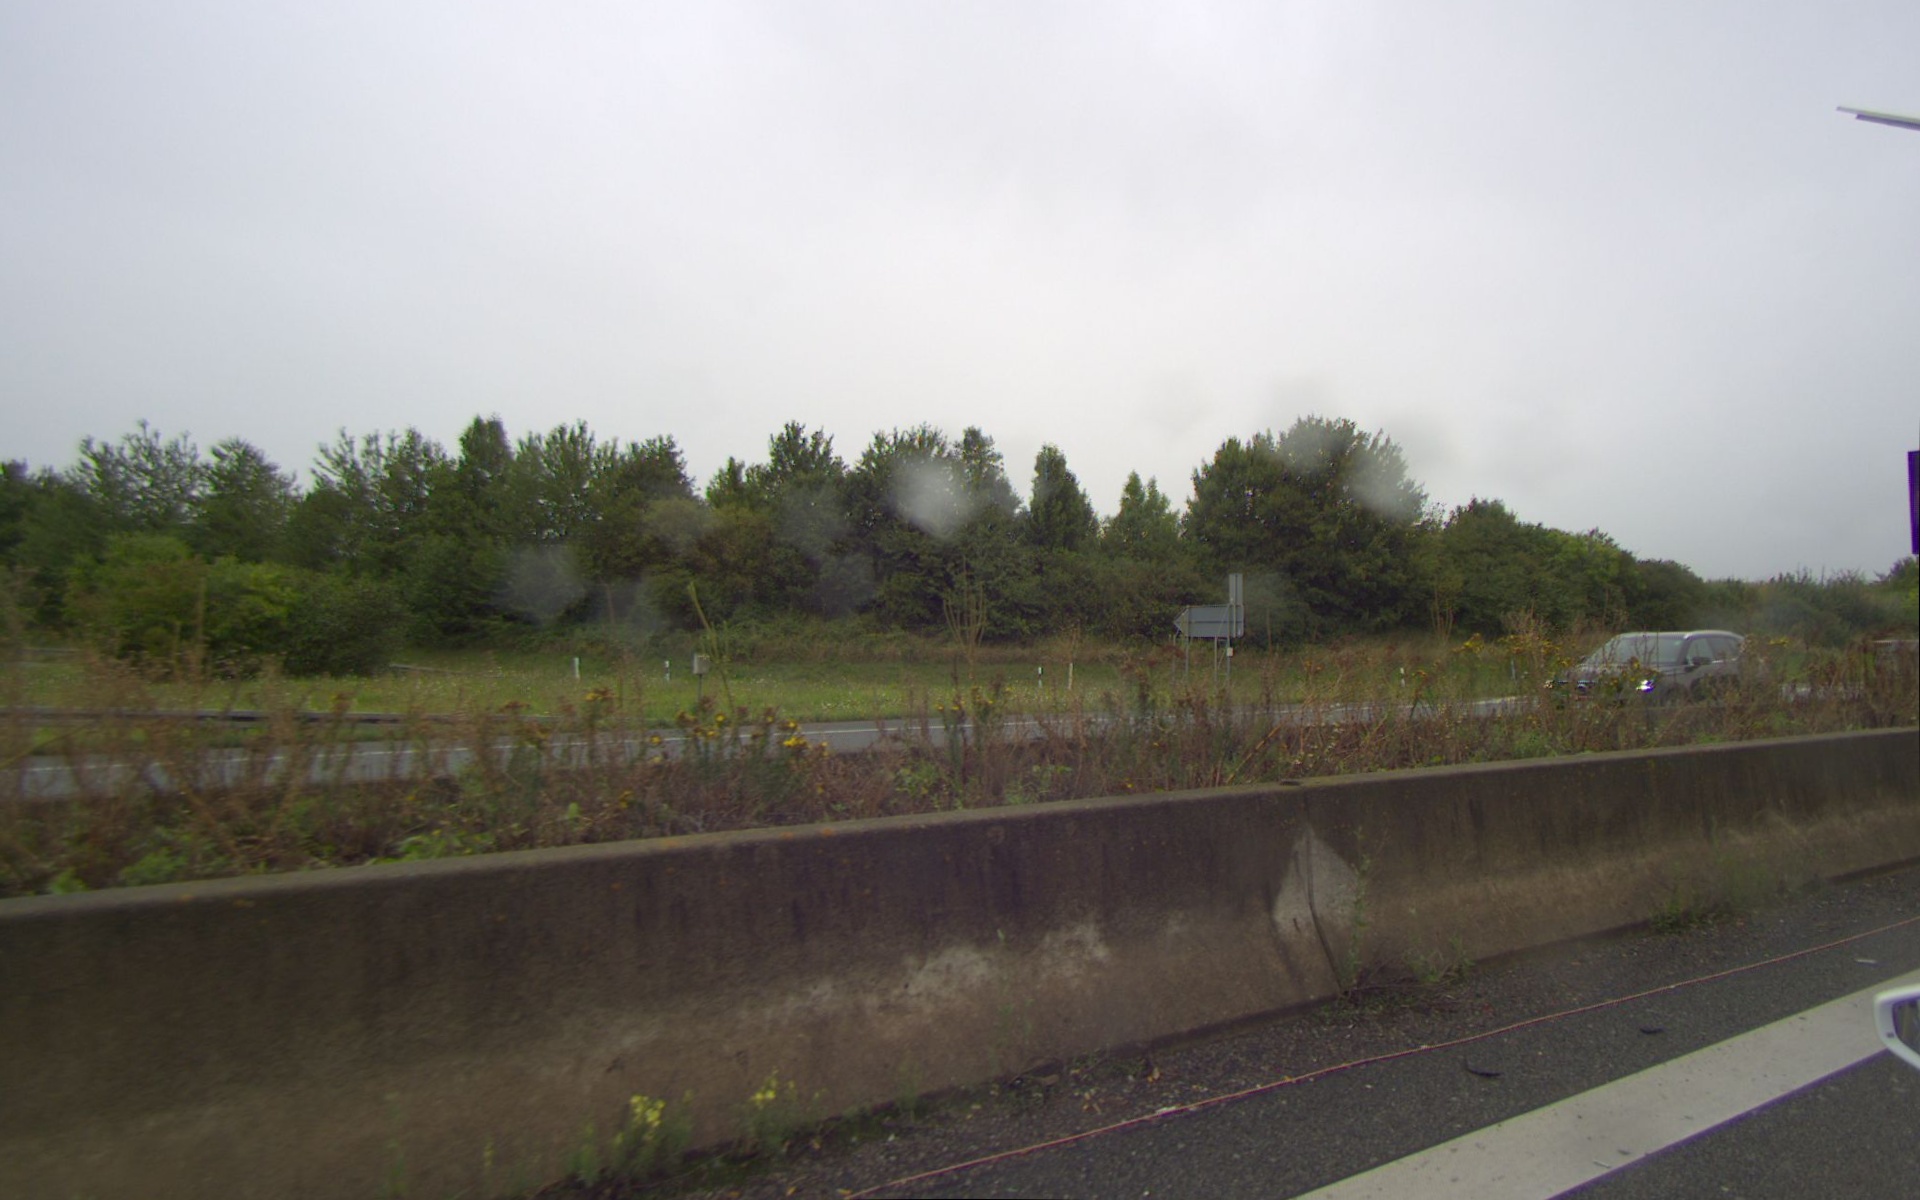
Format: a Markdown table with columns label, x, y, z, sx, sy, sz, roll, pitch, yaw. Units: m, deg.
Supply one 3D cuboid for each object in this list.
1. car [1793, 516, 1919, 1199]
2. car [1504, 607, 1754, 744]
| label | x | y | z | sx | sy | sz | roll | pitch | yaw |
| --- | --- | --- | --- | --- | --- | --- | --- | --- | --- |
| car | 3.858 | 0.745 | 2.116 | 3.953 | 1.783 | 1.985 | 1 | -2 | -30 |
| car | 11.238 | 1.249 | 16.842 | 3.956 | 2.039 | 1.984 | 2 | -5 | -32 |
